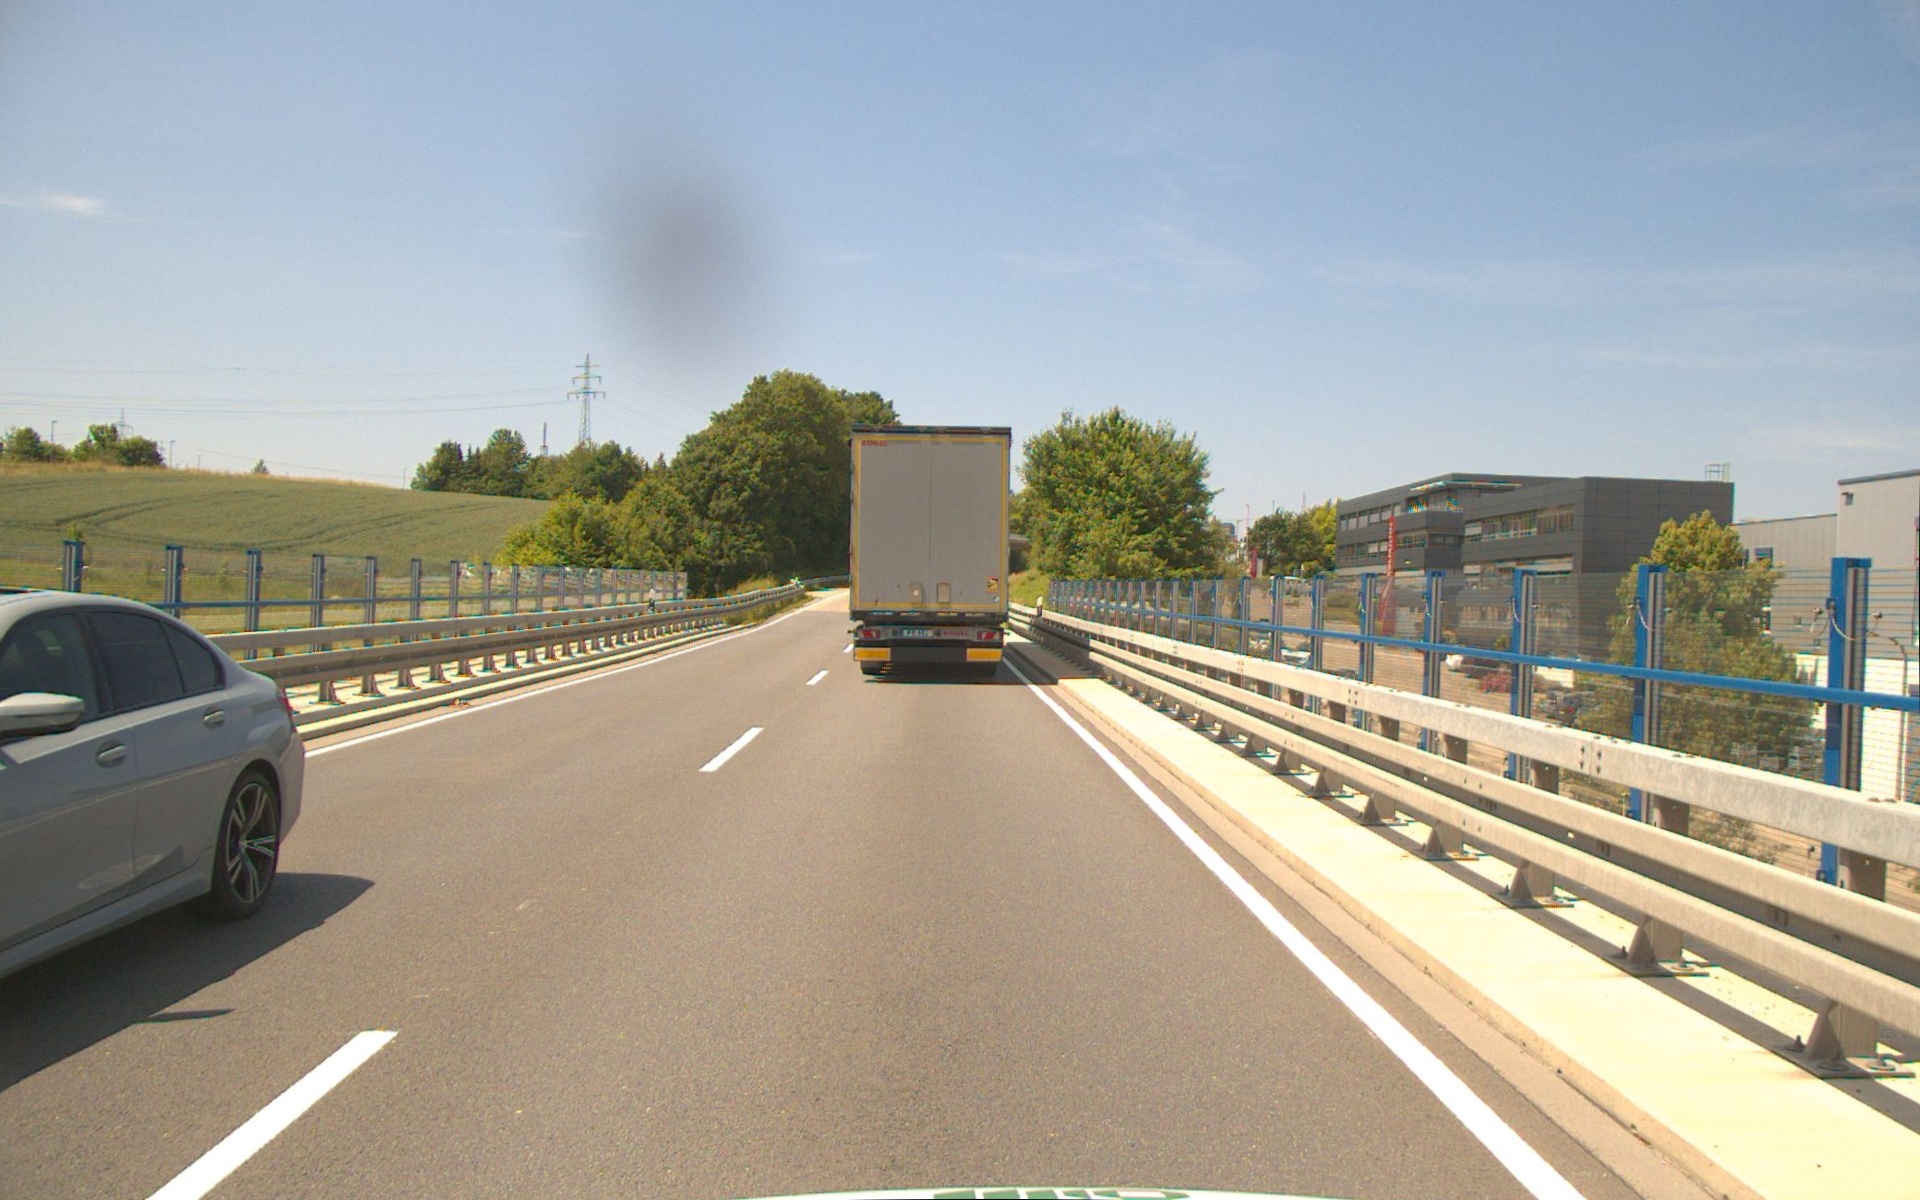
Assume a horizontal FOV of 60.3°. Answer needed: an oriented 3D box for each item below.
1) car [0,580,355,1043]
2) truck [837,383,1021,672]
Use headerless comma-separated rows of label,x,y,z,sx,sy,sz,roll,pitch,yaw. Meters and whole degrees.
car,-3.922,0.661,6.059,1.745,1.461,4.833,0,0,-2
truck,-0.565,-1.035,30.302,2.808,4.436,9.785,0,-1,-1
